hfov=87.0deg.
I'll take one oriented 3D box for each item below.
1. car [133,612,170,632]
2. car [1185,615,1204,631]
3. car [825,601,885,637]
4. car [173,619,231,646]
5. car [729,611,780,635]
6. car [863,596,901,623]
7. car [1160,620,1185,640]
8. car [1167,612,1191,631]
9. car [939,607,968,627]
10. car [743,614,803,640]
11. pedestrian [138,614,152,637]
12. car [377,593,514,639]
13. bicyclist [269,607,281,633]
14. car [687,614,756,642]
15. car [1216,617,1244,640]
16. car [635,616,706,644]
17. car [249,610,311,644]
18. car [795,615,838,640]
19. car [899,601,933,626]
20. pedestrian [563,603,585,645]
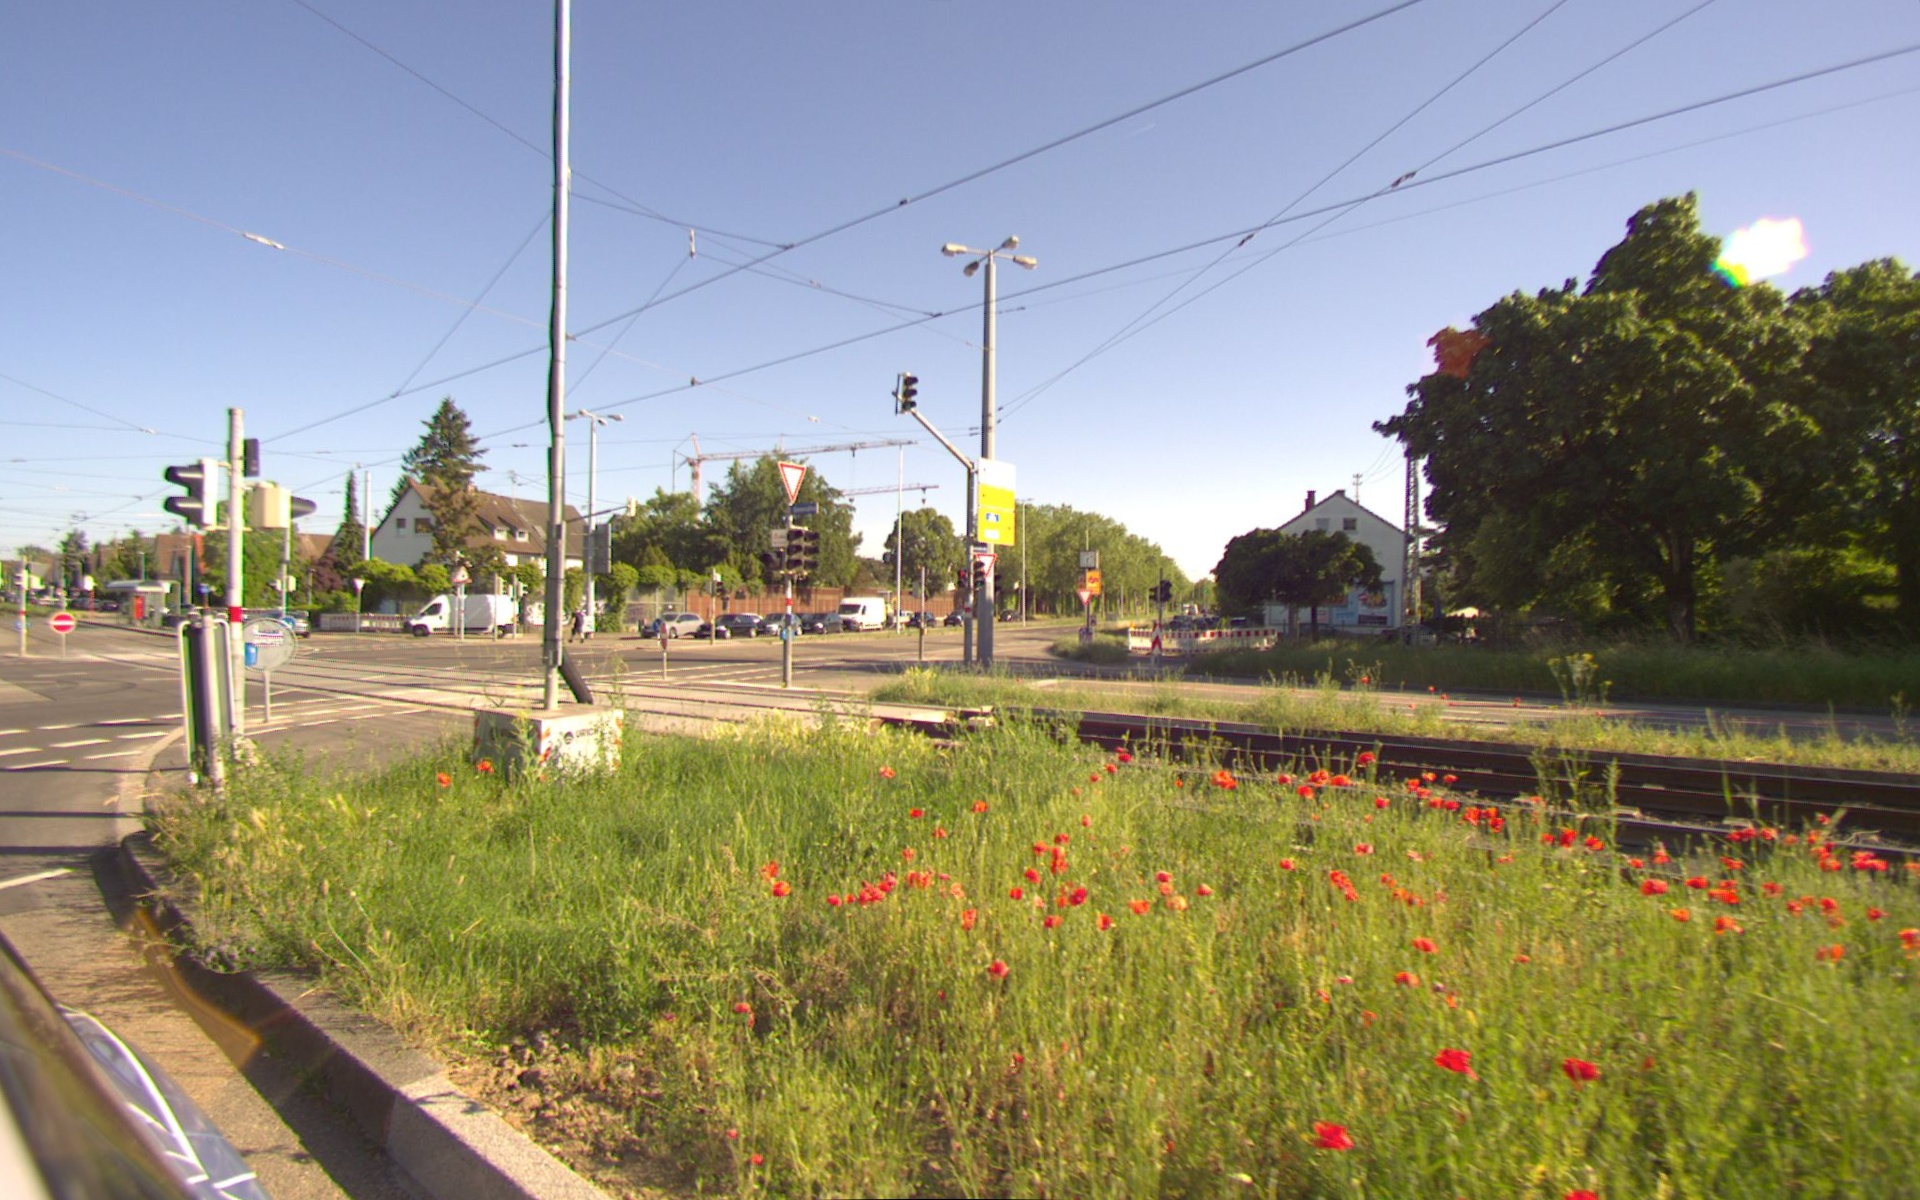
[{"bbox_3d":[-62.365,1.686,78.024,3.703,1.469,1.665,0,-1,43],"label":"car"},{"bbox_3d":[27.645,2.700,119.179,1.982,1.775,3.978,0,-1,16],"label":"car"},{"bbox_3d":[-7.460,1.349,72.584,2.162,2.429,5.888,0,-1,17],"label":"car"},{"bbox_3d":[-47.387,1.986,63.264,4.687,1.608,1.795,0,-1,39],"label":"car"},{"bbox_3d":[-13.286,1.507,65.725,1.657,1.488,3.980,0,-1,15],"label":"car"},{"bbox_3d":[-6.006,0.723,78.441,1.791,2.029,3.981,0,-1,15],"label":"car"},{"bbox_3d":[19.743,2.731,93.826,1.982,1.775,3.978,0,-1,16],"label":"car"},{"bbox_3d":[21.319,2.043,98.333,1.982,1.775,3.978,0,-1,16],"label":"car"},{"bbox_3d":[-0.571,1.584,94.371,1.791,1.755,3.982,0,-1,14],"label":"car"},{"bbox_3d":[-11.227,1.622,60.902,1.920,1.477,4.238,-1,-1,15],"label":"car"},{"bbox_3d":[-52.499,1.635,65.179,0.711,1.425,0.615,-1,-2,41],"label":"pedestrian"},{"bbox_3d":[-28.924,0.912,57.115,6.751,2.476,2.356,1,-1,-27],"label":"car"},{"bbox_3d":[-42.729,1.219,63.136,0.648,1.620,0.484,0,-1,43],"label":"bicyclist"},{"bbox_3d":[-13.064,1.492,55.671,1.920,1.477,4.228,0,-1,15],"label":"car"},{"bbox_3d":[21.116,2.210,79.006,1.983,1.775,3.978,0,-1,17],"label":"car"},{"bbox_3d":[-16.074,1.656,56.439,1.657,1.488,4.613,0,-1,15],"label":"car"},{"bbox_3d":[-34.941,1.358,51.967,4.001,1.700,1.772,0,-1,42],"label":"car"},{"bbox_3d":[-9.339,1.794,66.096,1.485,1.579,3.507,-1,-1,17],"label":"car"},{"bbox_3d":[-3.732,1.160,86.373,1.791,2.029,3.982,0,-1,14],"label":"car"},{"bbox_3d":[-17.816,1.106,46.761,0.765,1.963,0.611,0,-1,-1],"label":"pedestrian"}]
